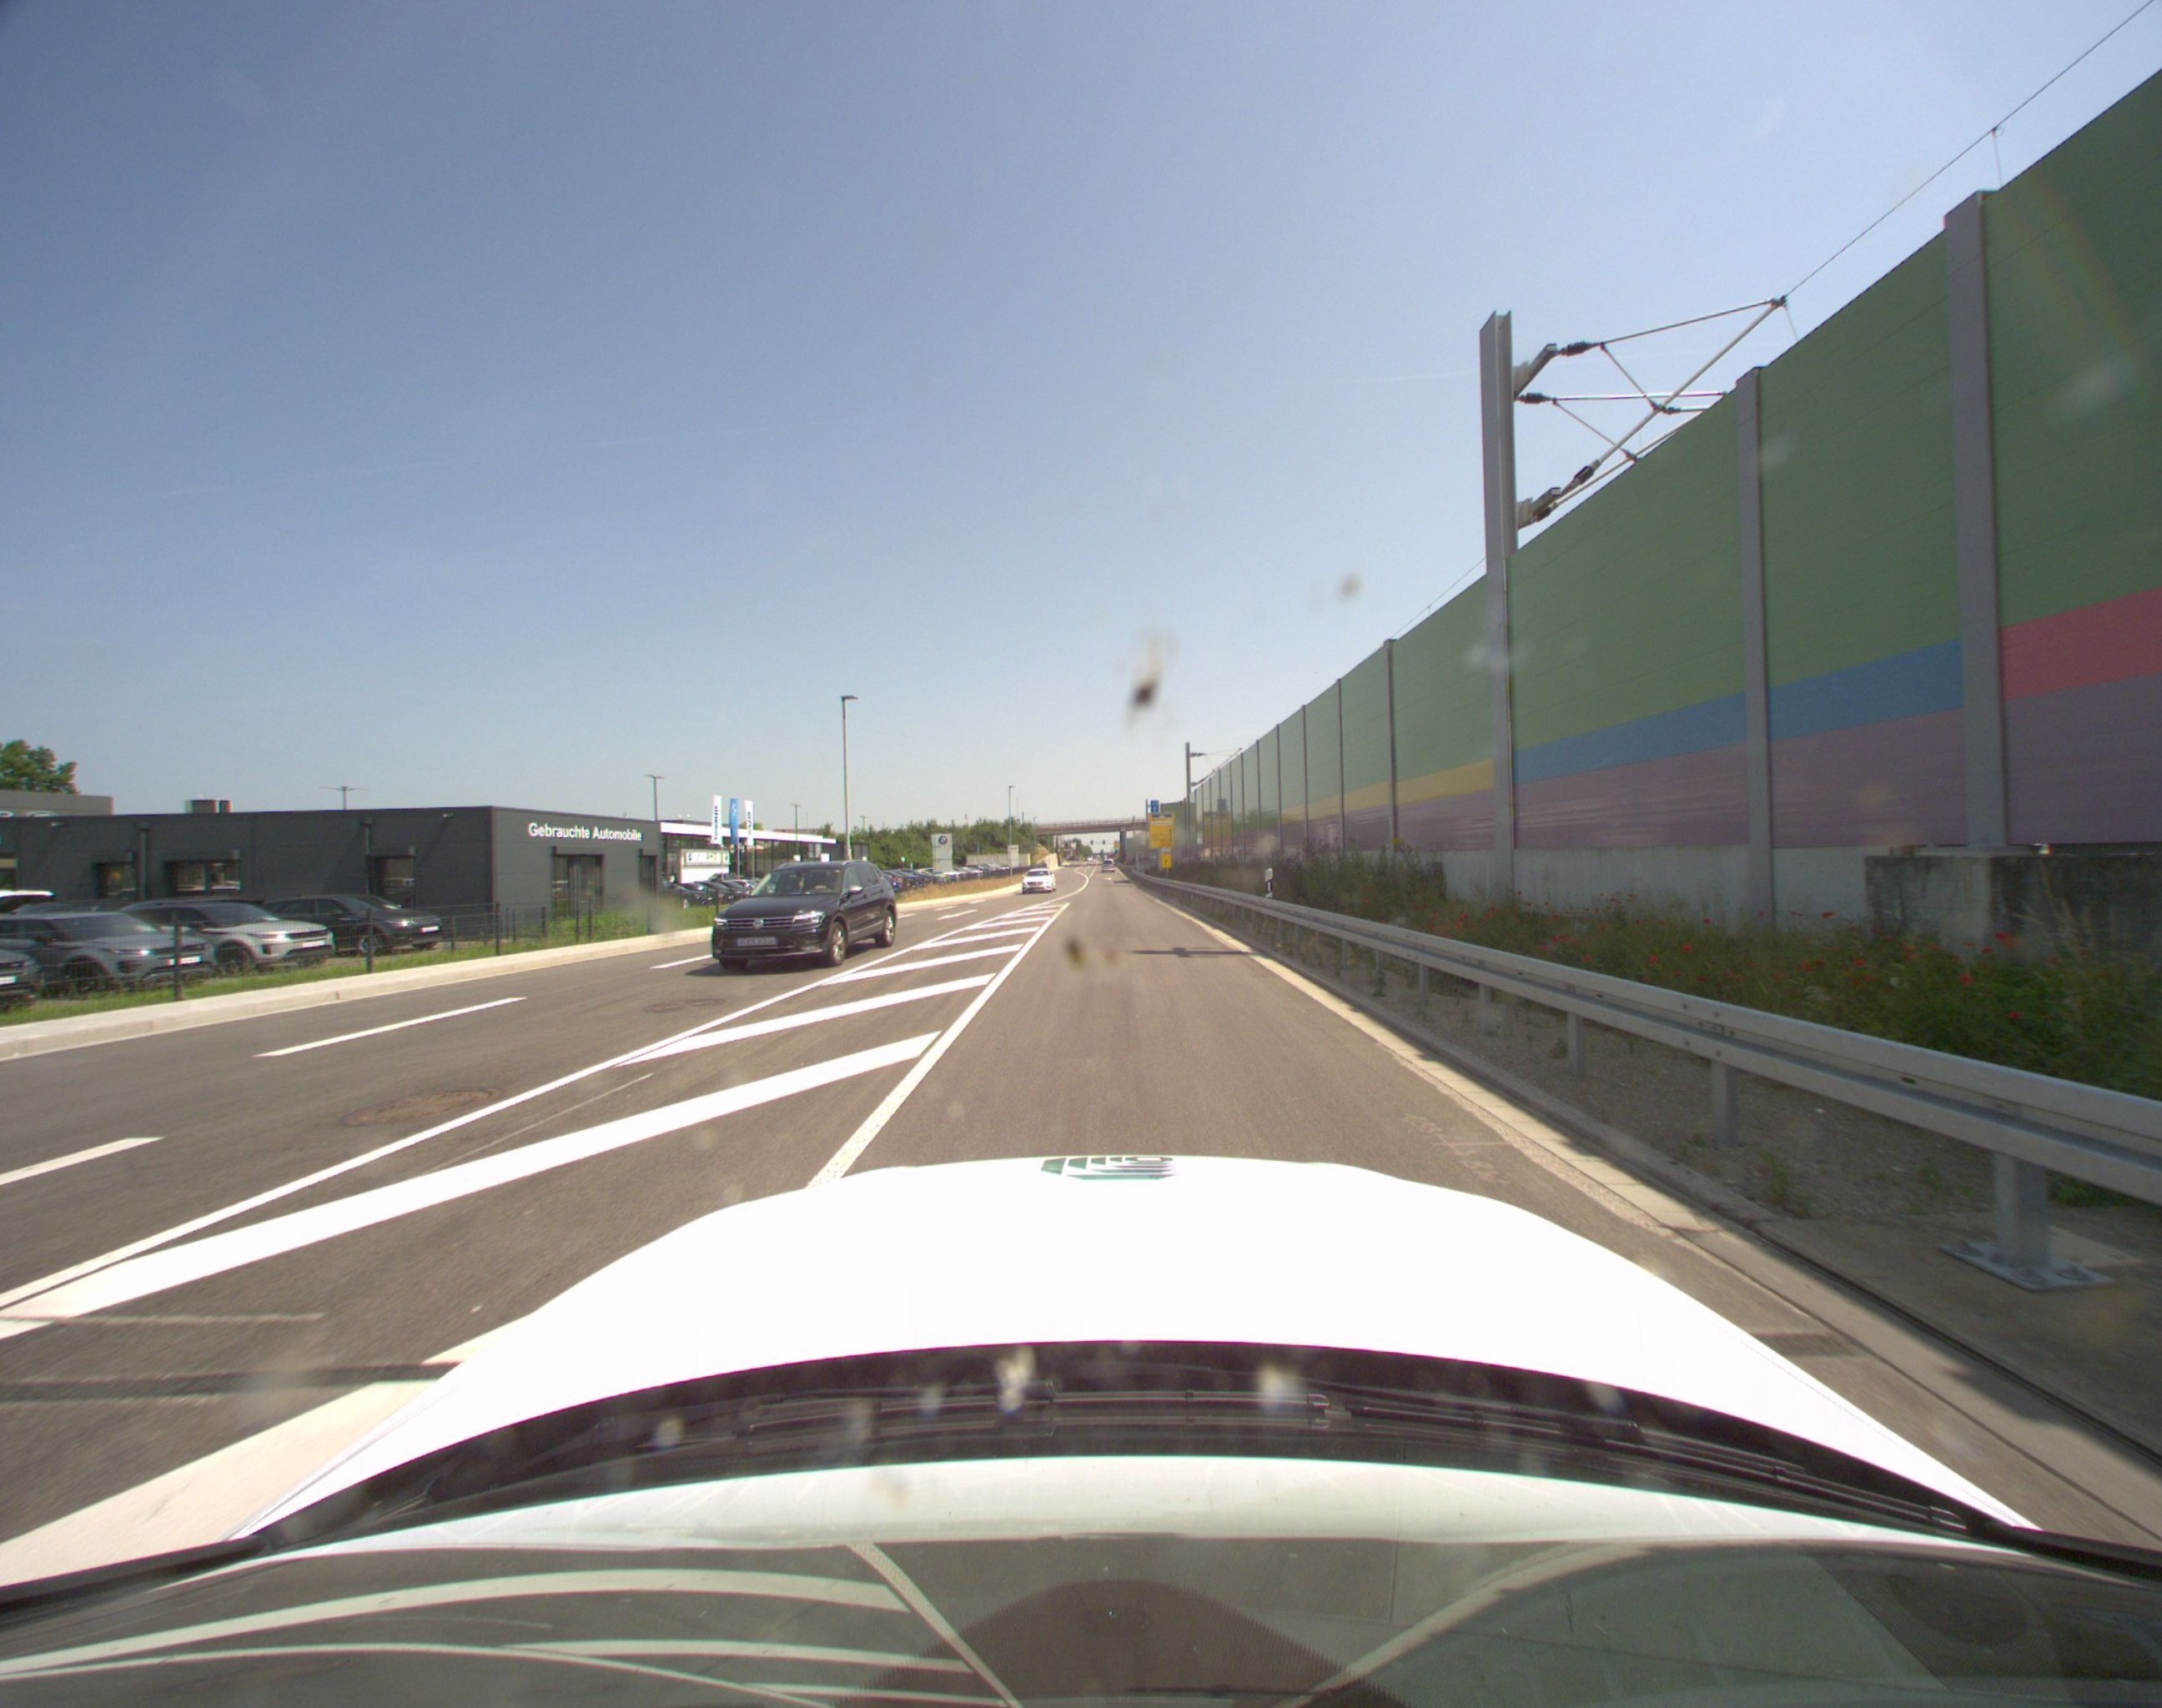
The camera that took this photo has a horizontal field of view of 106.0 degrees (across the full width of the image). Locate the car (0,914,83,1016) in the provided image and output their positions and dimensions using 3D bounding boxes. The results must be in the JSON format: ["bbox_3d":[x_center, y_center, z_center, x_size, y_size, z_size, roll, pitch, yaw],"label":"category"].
[{"bbox_3d":[-20.133,1.977,13.764,3.975,1.632,1.976,-2,0,-1],"label":"car"}]

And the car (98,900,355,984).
[{"bbox_3d":[-19.991,2.031,19.198,3.972,1.632,1.968,-2,0,1],"label":"car"}]

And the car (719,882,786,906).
[{"bbox_3d":[-23.603,2.886,58.592,3.975,1.494,1.815,-2,0,-1],"label":"car"}]

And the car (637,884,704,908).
[{"bbox_3d":[-30.214,3.069,59.999,3.975,1.586,1.815,-2,0,-1],"label":"car"}]

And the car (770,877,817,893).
[{"bbox_3d":[-29.707,3.201,84.251,4.148,1.466,1.816,-2,0,1],"label":"car"}]

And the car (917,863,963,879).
[{"bbox_3d":[-14.116,1.720,81.703,4.148,1.466,1.816,-2,0,1],"label":"car"}]

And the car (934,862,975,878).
[{"bbox_3d":[-13.877,1.723,89.688,4.148,1.545,1.816,-2,0,1],"label":"car"}]

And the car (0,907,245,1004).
[{"bbox_3d":[-20.050,2.025,16.560,3.975,1.632,1.976,-2,0,-1],"label":"car"}]

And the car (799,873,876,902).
[{"bbox_3d":[-14.483,1.973,48.584,3.975,1.480,1.911,-2,0,-1],"label":"car"}]

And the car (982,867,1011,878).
[{"bbox_3d":[-12.880,2.761,124.123,4.148,1.466,1.816,-2,0,1],"label":"car"}]

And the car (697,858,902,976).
[{"bbox_3d":[-4.588,0.931,14.033,1.870,1.673,4.292,-2,0,2],"label":"car"}]

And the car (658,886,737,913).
[{"bbox_3d":[-23.913,2.830,50.888,3.975,1.480,1.815,-2,0,-1],"label":"car"}]

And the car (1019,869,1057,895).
[{"bbox_3d":[-2.547,1.664,49.246,1.773,1.416,4.053,-2,-1,3],"label":"car"}]

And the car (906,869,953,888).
[{"bbox_3d":[-14.182,2.299,76.263,3.972,1.534,1.816,-2,0,1],"label":"car"}]

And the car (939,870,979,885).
[{"bbox_3d":[-13.736,2.657,92.173,4.148,1.545,1.816,-2,0,1],"label":"car"}]

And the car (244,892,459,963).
[{"bbox_3d":[-19.875,1.967,22.333,4.136,1.632,1.822,-2,0,-1],"label":"car"}]

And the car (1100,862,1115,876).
[{"bbox_3d":[3.631,2.022,111.211,1.985,1.757,4.003,-1,0,3],"label":"car"}]

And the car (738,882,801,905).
[{"bbox_3d":[-23.543,2.986,61.645,3.975,1.494,1.815,-2,0,-1],"label":"car"}]

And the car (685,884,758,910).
[{"bbox_3d":[-23.814,2.818,54.101,3.975,1.480,1.815,-2,0,-1],"label":"car"}]

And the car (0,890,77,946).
[{"bbox_3d":[-30.994,1.805,22.700,3.825,1.421,1.685,-1,0,-1],"label":"car"}]

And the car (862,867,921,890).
[{"bbox_3d":[-14.173,1.800,61.099,3.975,1.534,1.815,-2,0,-1],"label":"car"}]
